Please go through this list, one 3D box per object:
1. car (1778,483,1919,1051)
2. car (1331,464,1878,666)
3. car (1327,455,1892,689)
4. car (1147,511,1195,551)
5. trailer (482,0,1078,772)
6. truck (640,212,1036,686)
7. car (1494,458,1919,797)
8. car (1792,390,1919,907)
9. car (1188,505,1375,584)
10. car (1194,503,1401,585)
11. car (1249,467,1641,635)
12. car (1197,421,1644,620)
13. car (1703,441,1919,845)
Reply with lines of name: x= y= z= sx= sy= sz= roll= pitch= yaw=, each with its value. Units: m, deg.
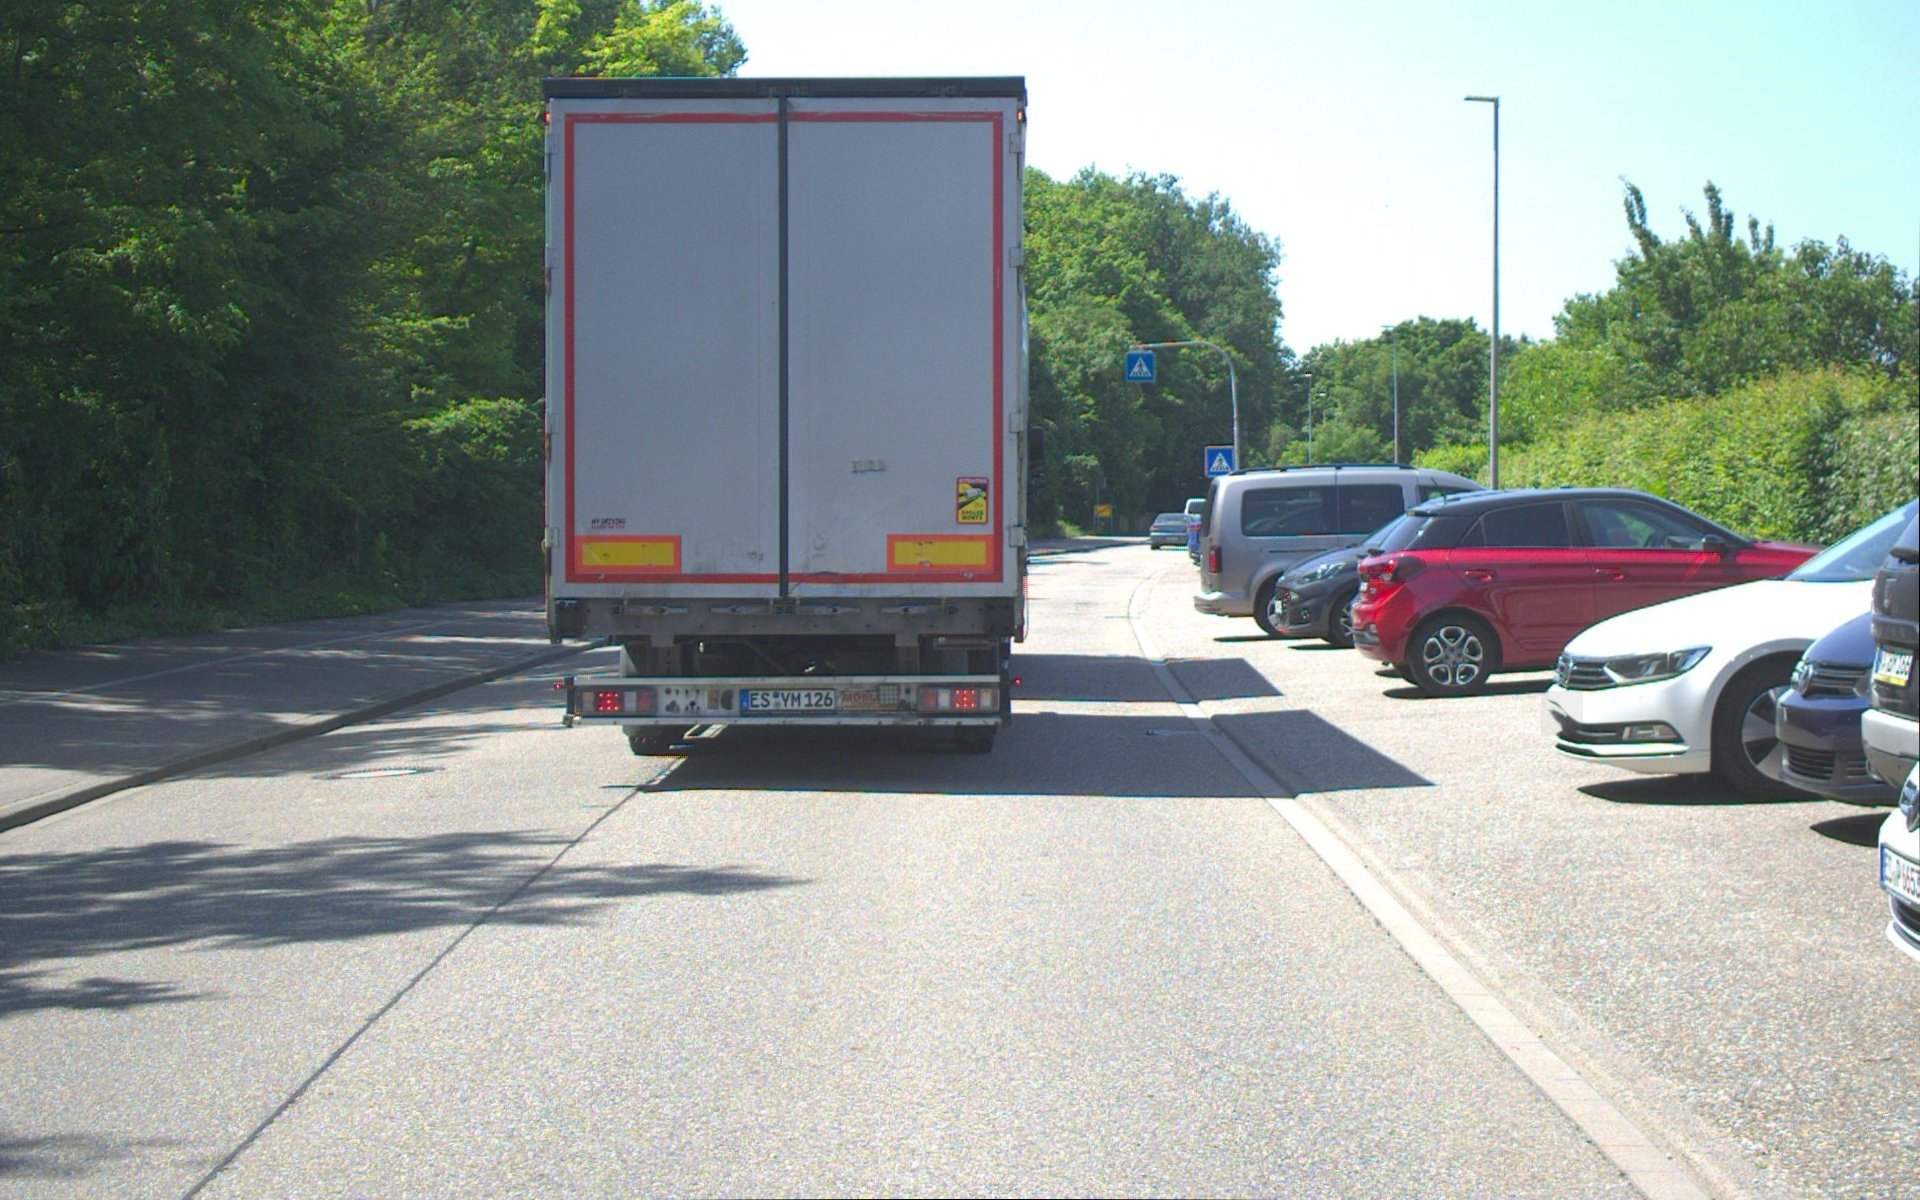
car: x=4.461 y=0.310 z=9.399 sx=3.997 sy=1.447 sz=1.832 roll=-3 pitch=1 yaw=3
car: x=5.363 y=-0.313 z=29.013 sx=4.203 sy=1.383 sz=1.841 roll=-4 pitch=2 yaw=1
car: x=4.877 y=-0.229 z=26.229 sx=3.919 sy=1.473 sz=1.845 roll=-4 pitch=2 yaw=2
car: x=8.055 y=-2.650 z=131.704 sx=1.781 sy=1.481 sz=4.000 roll=0 pitch=2 yaw=3
trailer: x=-0.966 y=-1.310 z=23.771 sx=3.112 sy=4.088 sz=11.538 roll=0 pitch=2 yaw=0
truck: x=-0.928 y=-1.277 z=30.213 sx=3.114 sy=3.712 sz=6.414 roll=0 pitch=2 yaw=1
car: x=5.089 y=0.007 z=16.710 sx=4.557 sy=1.434 sz=1.962 roll=-4 pitch=2 yaw=-2
car: x=5.246 y=0.010 z=11.828 sx=4.258 sy=1.692 sz=1.853 roll=-4 pitch=2 yaw=2
car: x=7.495 y=-1.301 z=80.489 sx=4.238 sy=1.628 sz=1.823 roll=-3 pitch=1 yaw=4
car: x=6.978 y=-1.154 z=71.427 sx=4.164 sy=1.490 sz=1.882 roll=-3 pitch=1 yaw=4
car: x=4.851 y=-0.509 z=34.724 sx=3.575 sy=1.497 sz=1.842 roll=-3 pitch=2 yaw=-3
car: x=5.009 y=-0.880 z=37.897 sx=4.621 sy=1.842 sz=1.996 roll=-4 pitch=2 yaw=3
car: x=5.347 y=0.026 z=14.247 sx=4.049 sy=1.543 sz=1.758 roll=-4 pitch=2 yaw=-1
